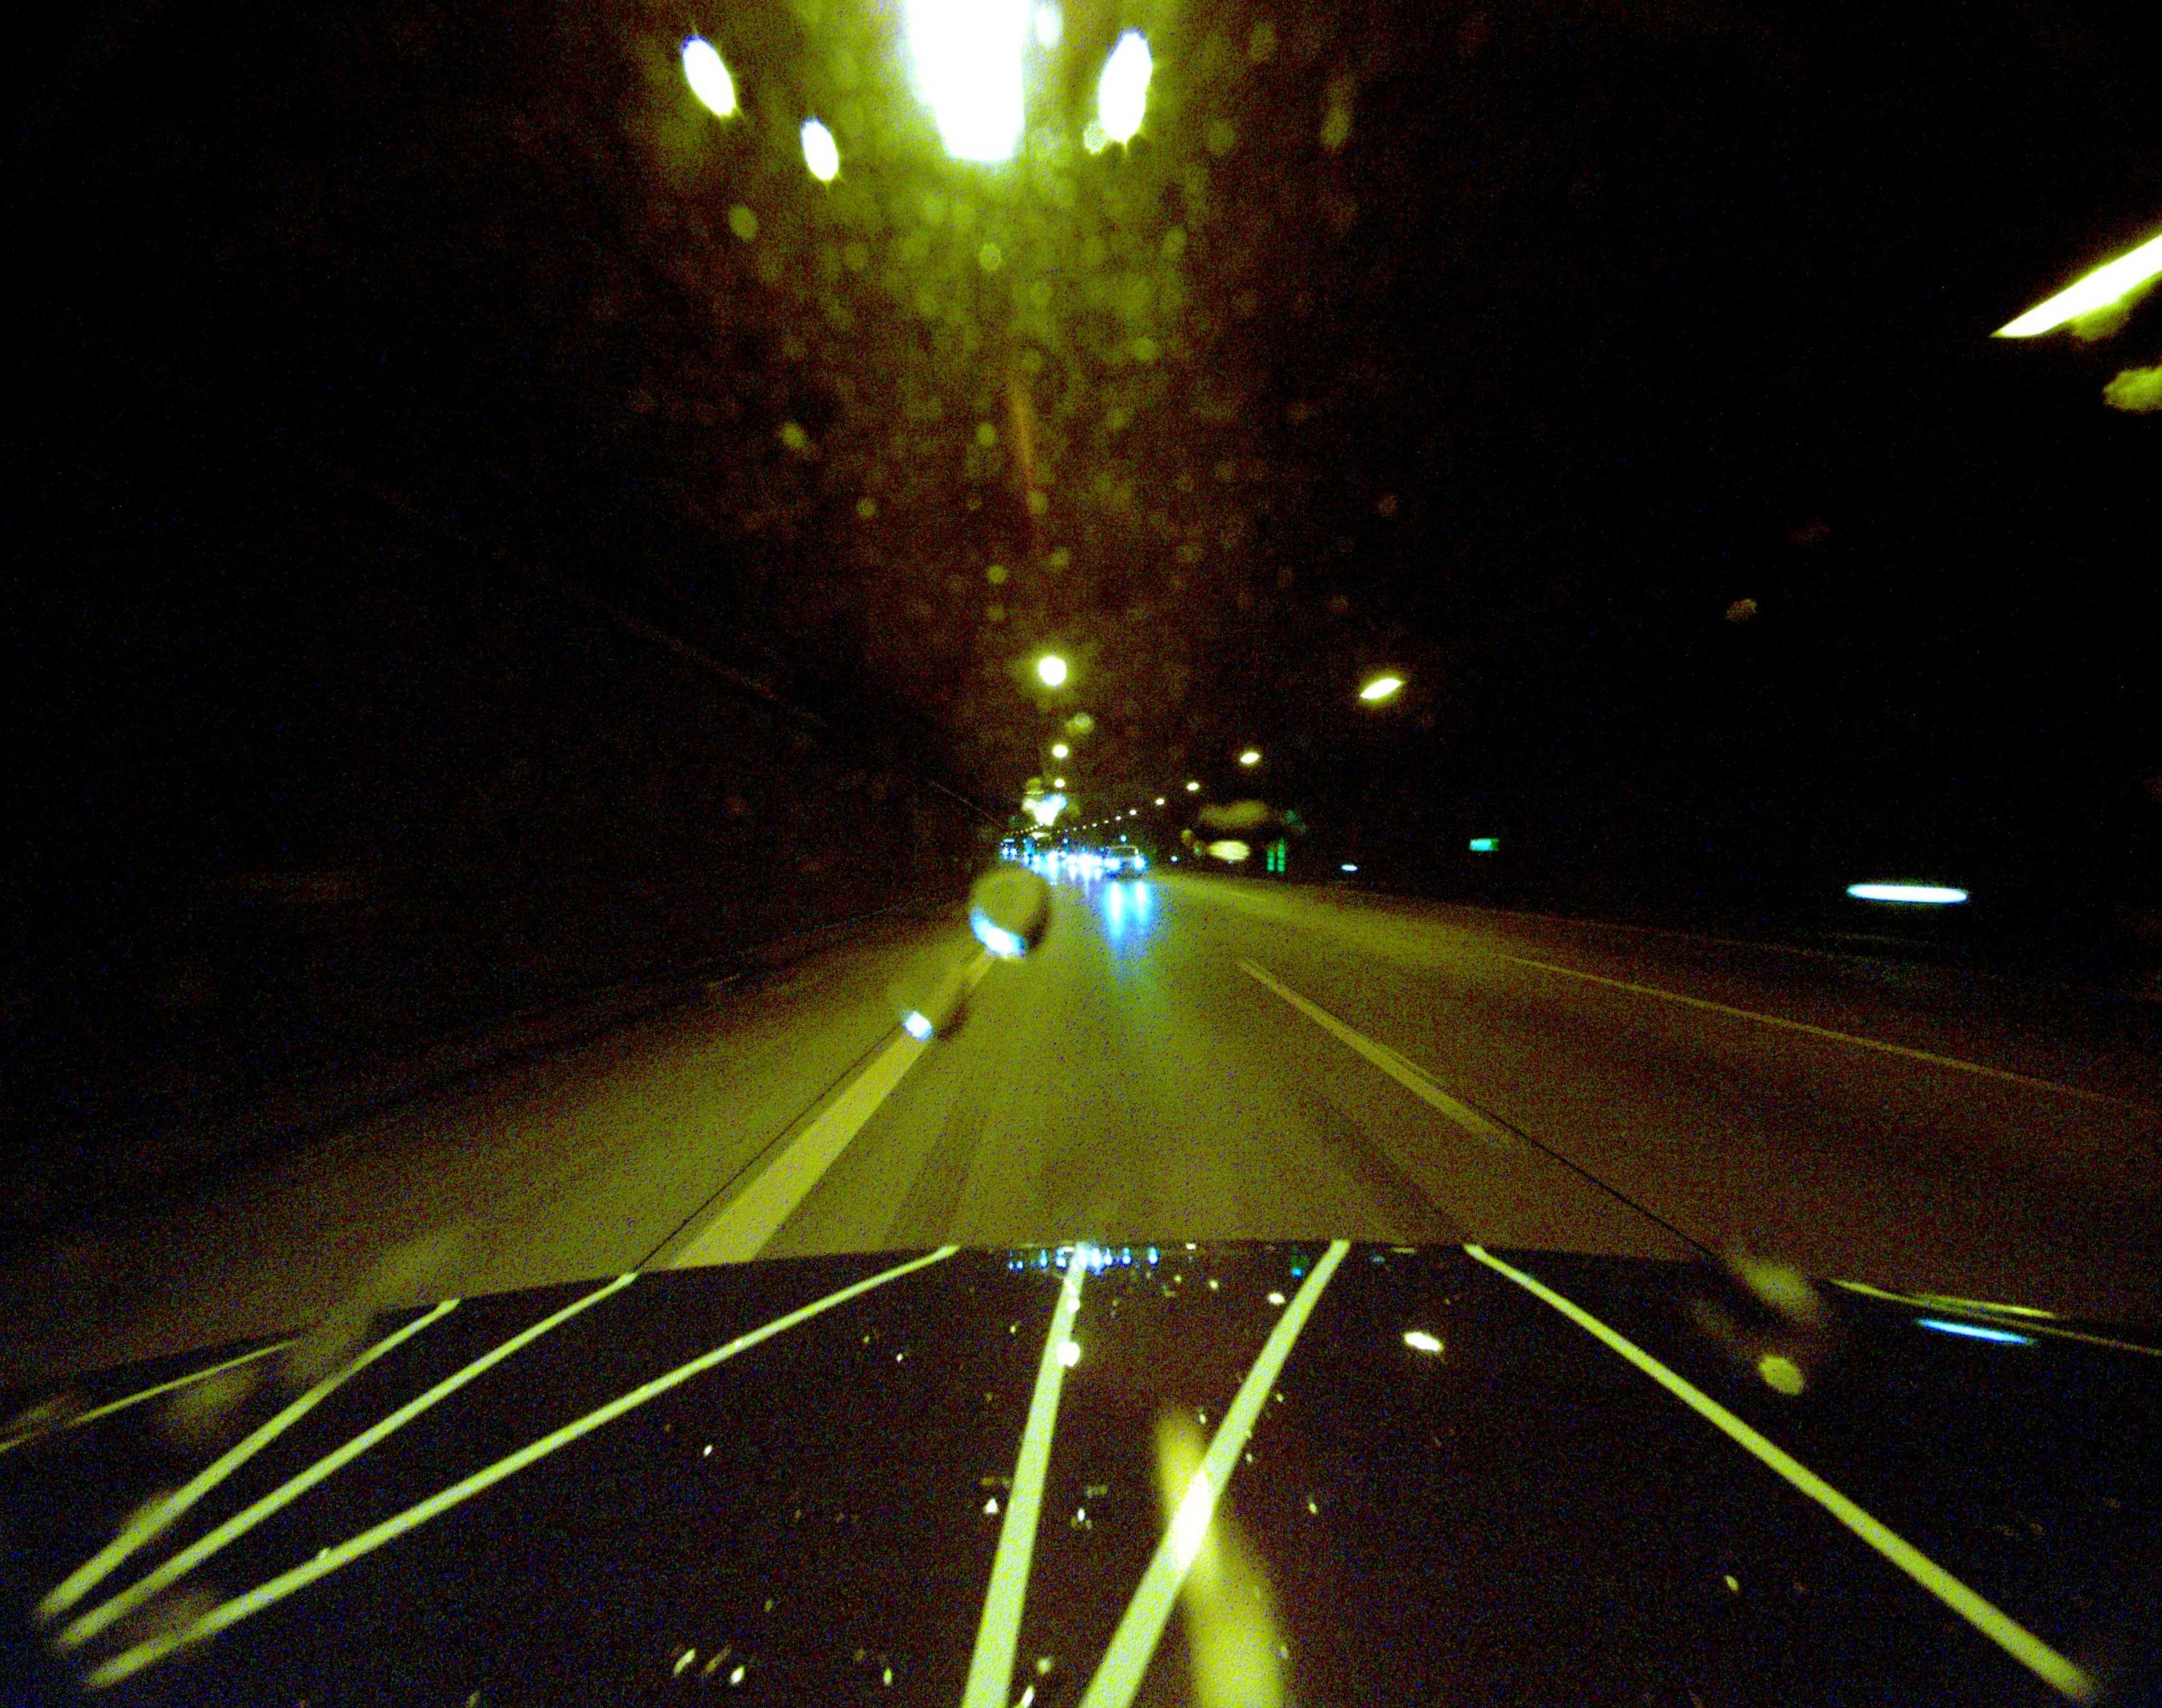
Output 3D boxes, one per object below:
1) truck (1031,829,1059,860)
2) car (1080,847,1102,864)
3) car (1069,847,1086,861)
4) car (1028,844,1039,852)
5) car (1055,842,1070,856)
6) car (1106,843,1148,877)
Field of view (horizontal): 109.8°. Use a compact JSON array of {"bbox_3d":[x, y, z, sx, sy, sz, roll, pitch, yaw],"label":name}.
[{"bbox_3d":[-5.024,-1.371,104.948,3.144,4.137,7.381,-2,2,-7],"label":"truck"},{"bbox_3d":[0.954,0.145,75.516,1.911,1.637,3.999,-1,0,-3],"label":"car"},{"bbox_3d":[-0.469,-0.038,91.074,1.759,1.566,3.998,-1,0,-4],"label":"car"},{"bbox_3d":[-10.203,-1.342,163.450,2.000,1.729,3.996,-2,1,-9],"label":"car"},{"bbox_3d":[-3.053,-0.813,121.816,2.000,2.003,3.996,-2,3,-6],"label":"car"},{"bbox_3d":[2.811,0.369,47.447,1.999,2.002,4.359,-2,0,-4],"label":"car"}]
